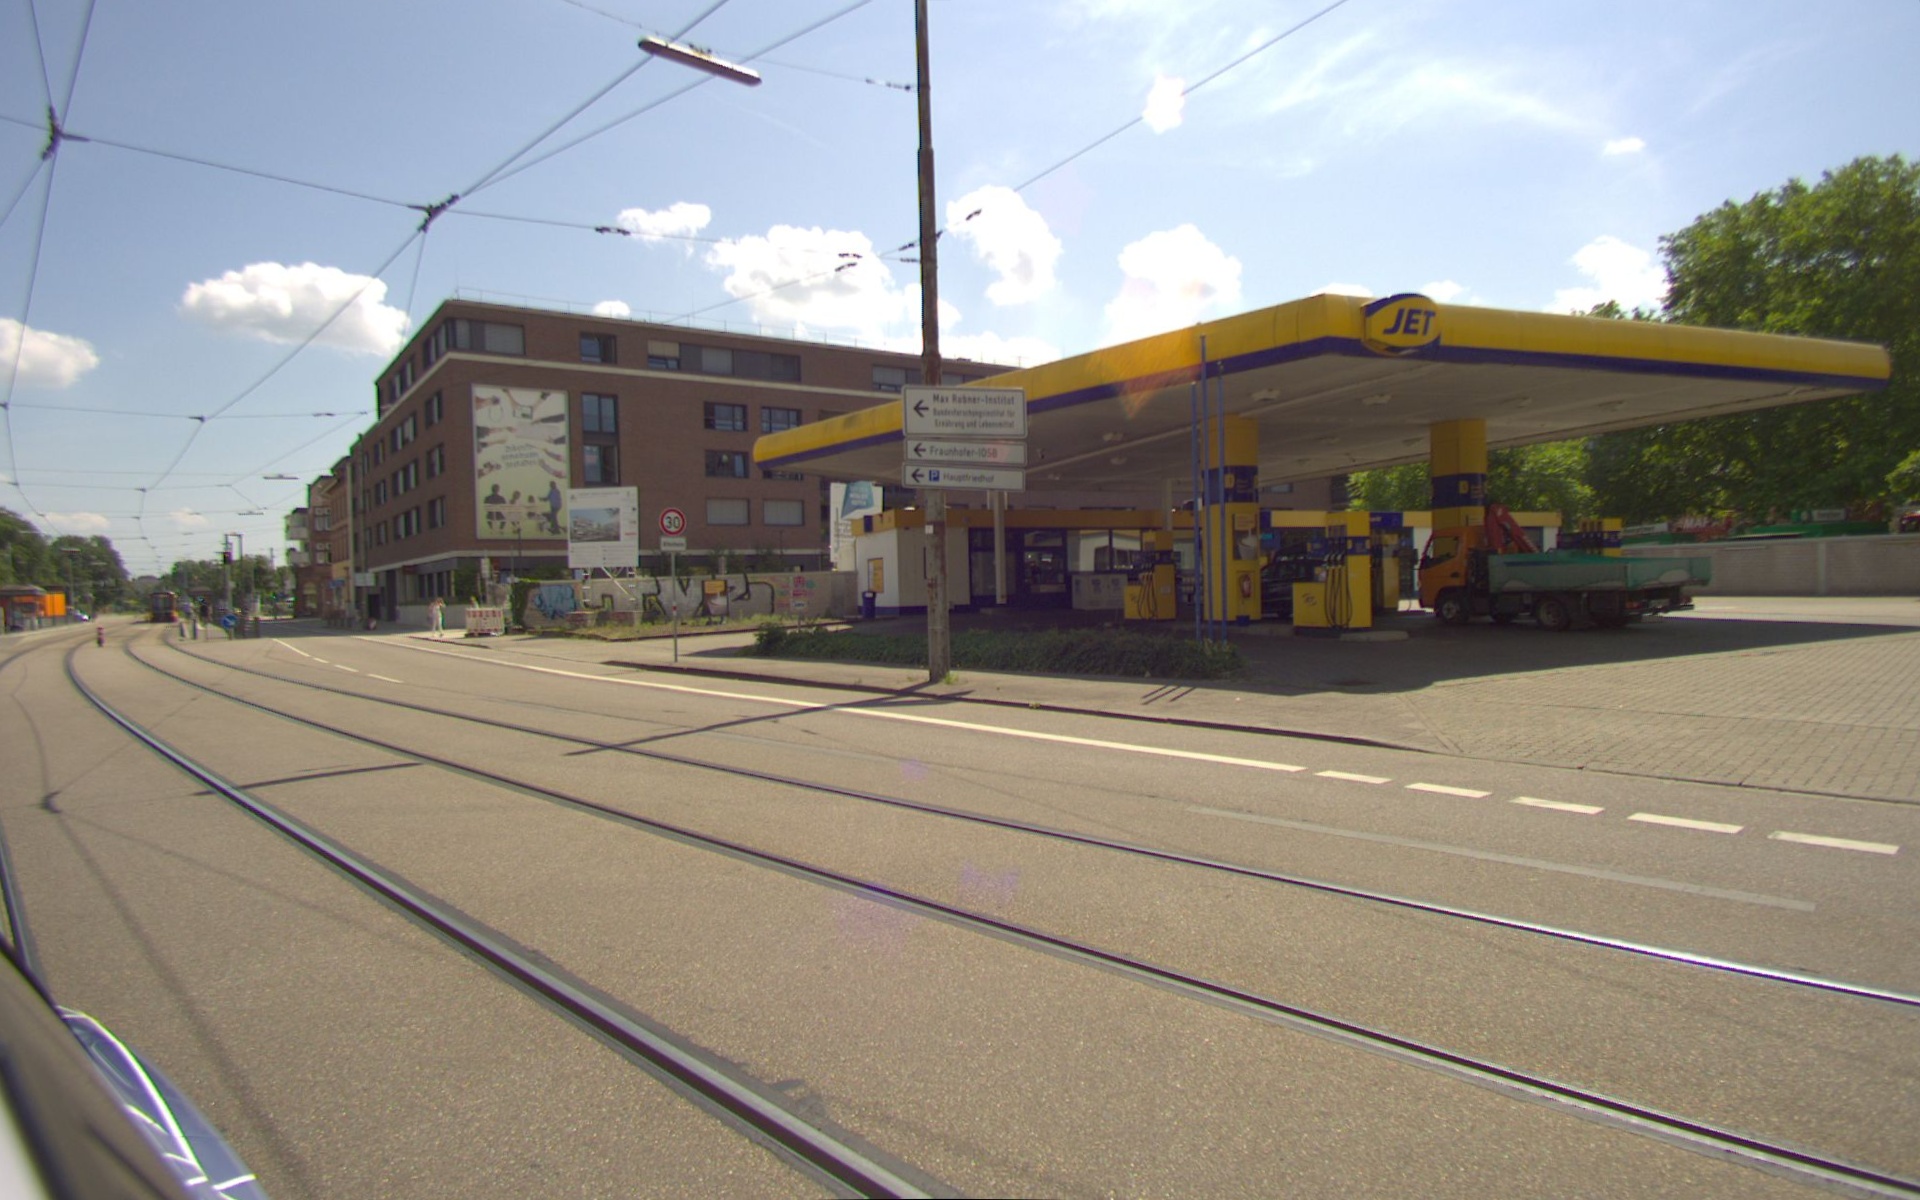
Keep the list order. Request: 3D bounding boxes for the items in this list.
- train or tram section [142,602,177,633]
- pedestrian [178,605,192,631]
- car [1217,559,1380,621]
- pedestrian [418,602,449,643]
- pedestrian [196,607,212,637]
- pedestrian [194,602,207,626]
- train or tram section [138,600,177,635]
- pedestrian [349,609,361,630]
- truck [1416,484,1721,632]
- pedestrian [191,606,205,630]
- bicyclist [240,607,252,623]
[{"bbox_3d":[-102.144,2.156,129.237,3.209,3.594,20.542,-2,1,-38],"label":"train or tram section"},{"bbox_3d":[-56.139,1.292,73.298,0.750,1.812,0.953,-1,0,-39],"label":"pedestrian"},{"bbox_3d":[9.066,-0.259,27.537,1.966,1.490,4.355,-2,1,-17],"label":"car"},{"bbox_3d":[-21.539,0.917,41.386,0.751,1.607,1.001,-7,4,-43],"label":"pedestrian"},{"bbox_3d":[-45.471,1.321,60.875,0.676,1.773,1.035,-1,0,-39],"label":"pedestrian"},{"bbox_3d":[-51.564,0.935,68.710,0.676,1.608,0.762,-1,0,-39],"label":"pedestrian"},{"bbox_3d":[-90.796,1.929,114.614,3.193,3.594,16.382,-2,1,-38],"label":"train or tram section"},{"bbox_3d":[-45.847,1.473,76.650,0.676,1.608,0.762,-1,0,-39],"label":"pedestrian"},{"bbox_3d":[11.741,-0.778,20.075,1.966,2.516,5.218,-2,1,-15],"label":"truck"},{"bbox_3d":[-55.278,1.271,73.386,0.750,1.707,0.810,-1,0,-39],"label":"pedestrian"},{"bbox_3d":[-66.844,1.405,94.705,0.749,1.515,1.066,-2,1,-44],"label":"bicyclist"}]
